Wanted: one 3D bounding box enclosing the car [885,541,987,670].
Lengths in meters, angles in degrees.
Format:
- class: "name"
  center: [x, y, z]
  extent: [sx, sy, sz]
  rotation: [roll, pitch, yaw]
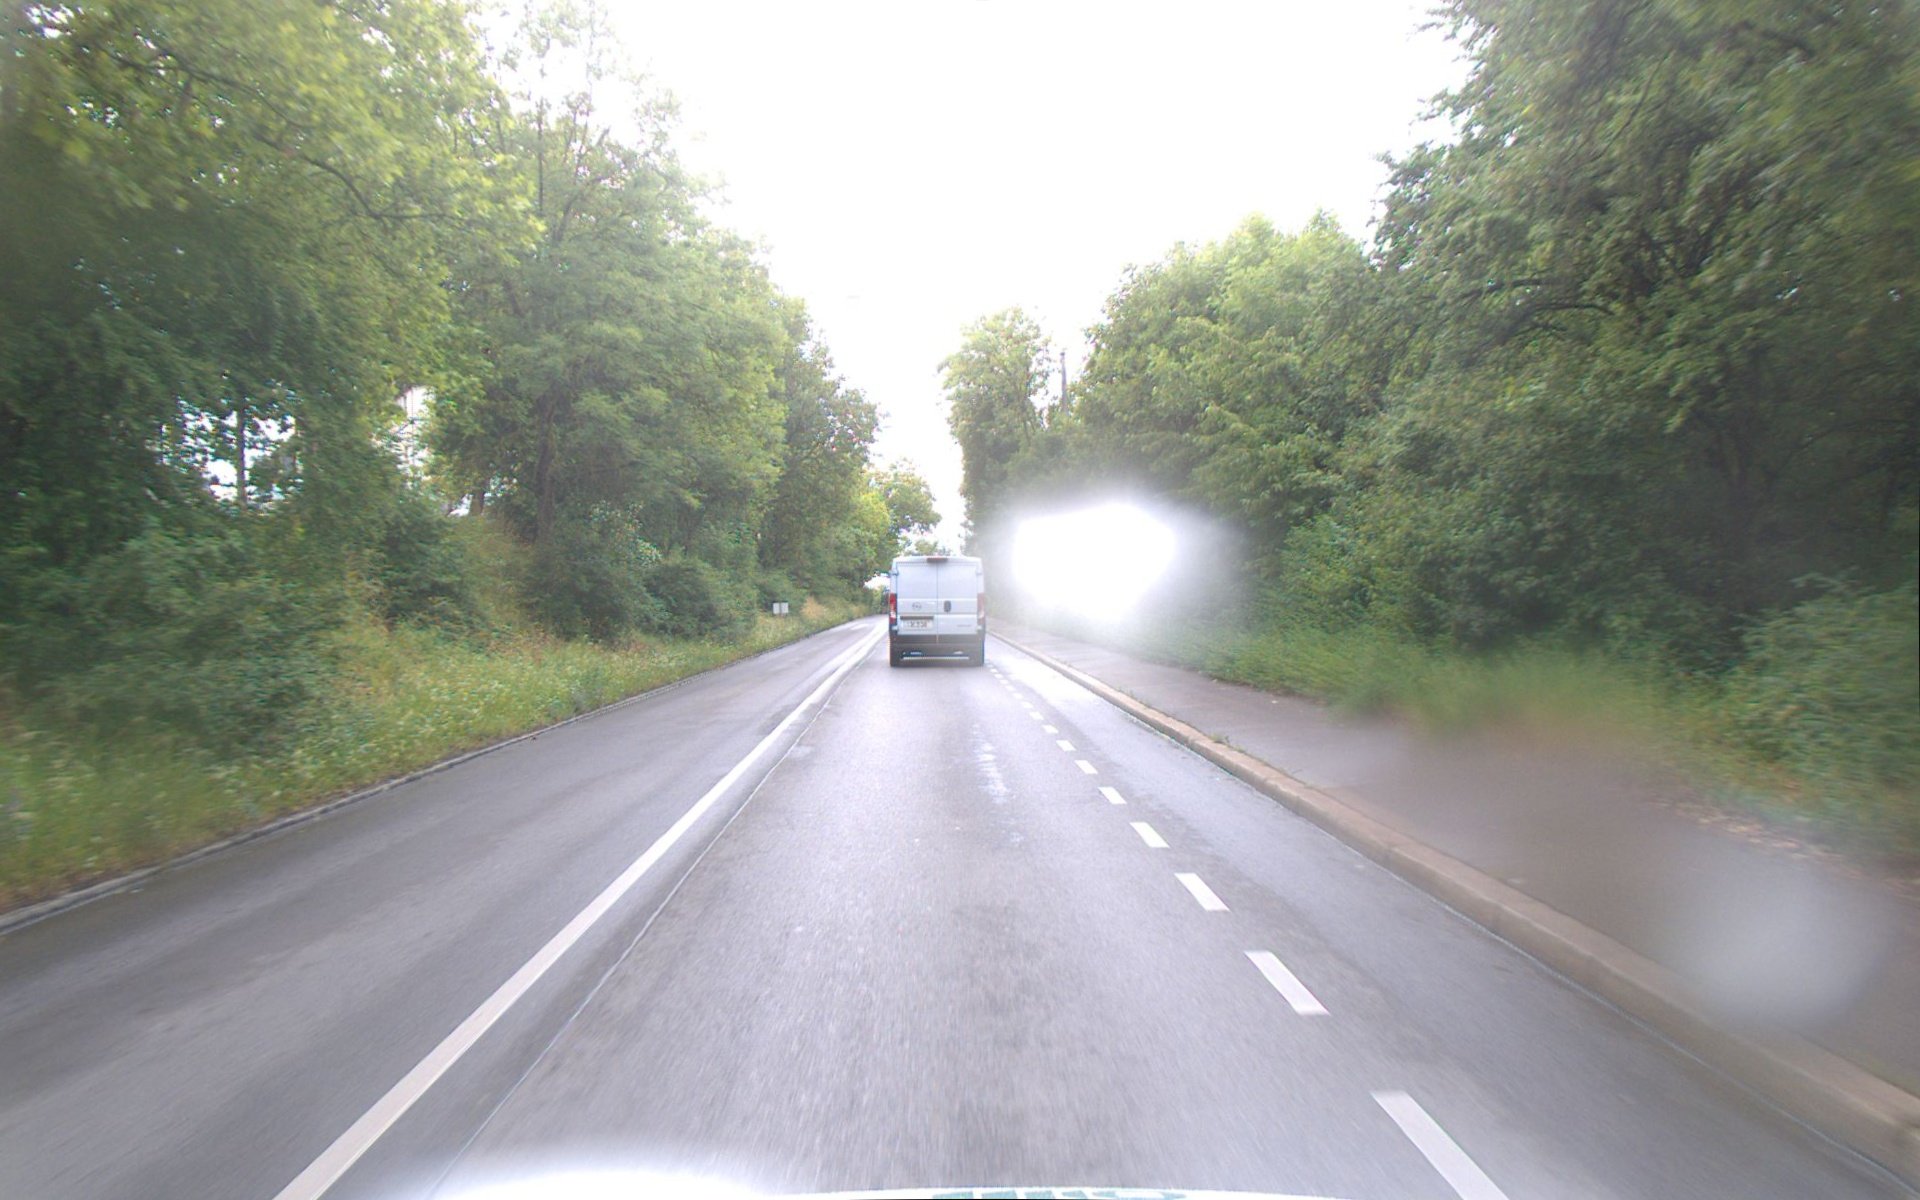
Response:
- class: "car"
  center: [-0.528, 0.087, 35.999]
  extent: [2.008, 2.560, 4.943]
  rotation: [2, 0, -1]
